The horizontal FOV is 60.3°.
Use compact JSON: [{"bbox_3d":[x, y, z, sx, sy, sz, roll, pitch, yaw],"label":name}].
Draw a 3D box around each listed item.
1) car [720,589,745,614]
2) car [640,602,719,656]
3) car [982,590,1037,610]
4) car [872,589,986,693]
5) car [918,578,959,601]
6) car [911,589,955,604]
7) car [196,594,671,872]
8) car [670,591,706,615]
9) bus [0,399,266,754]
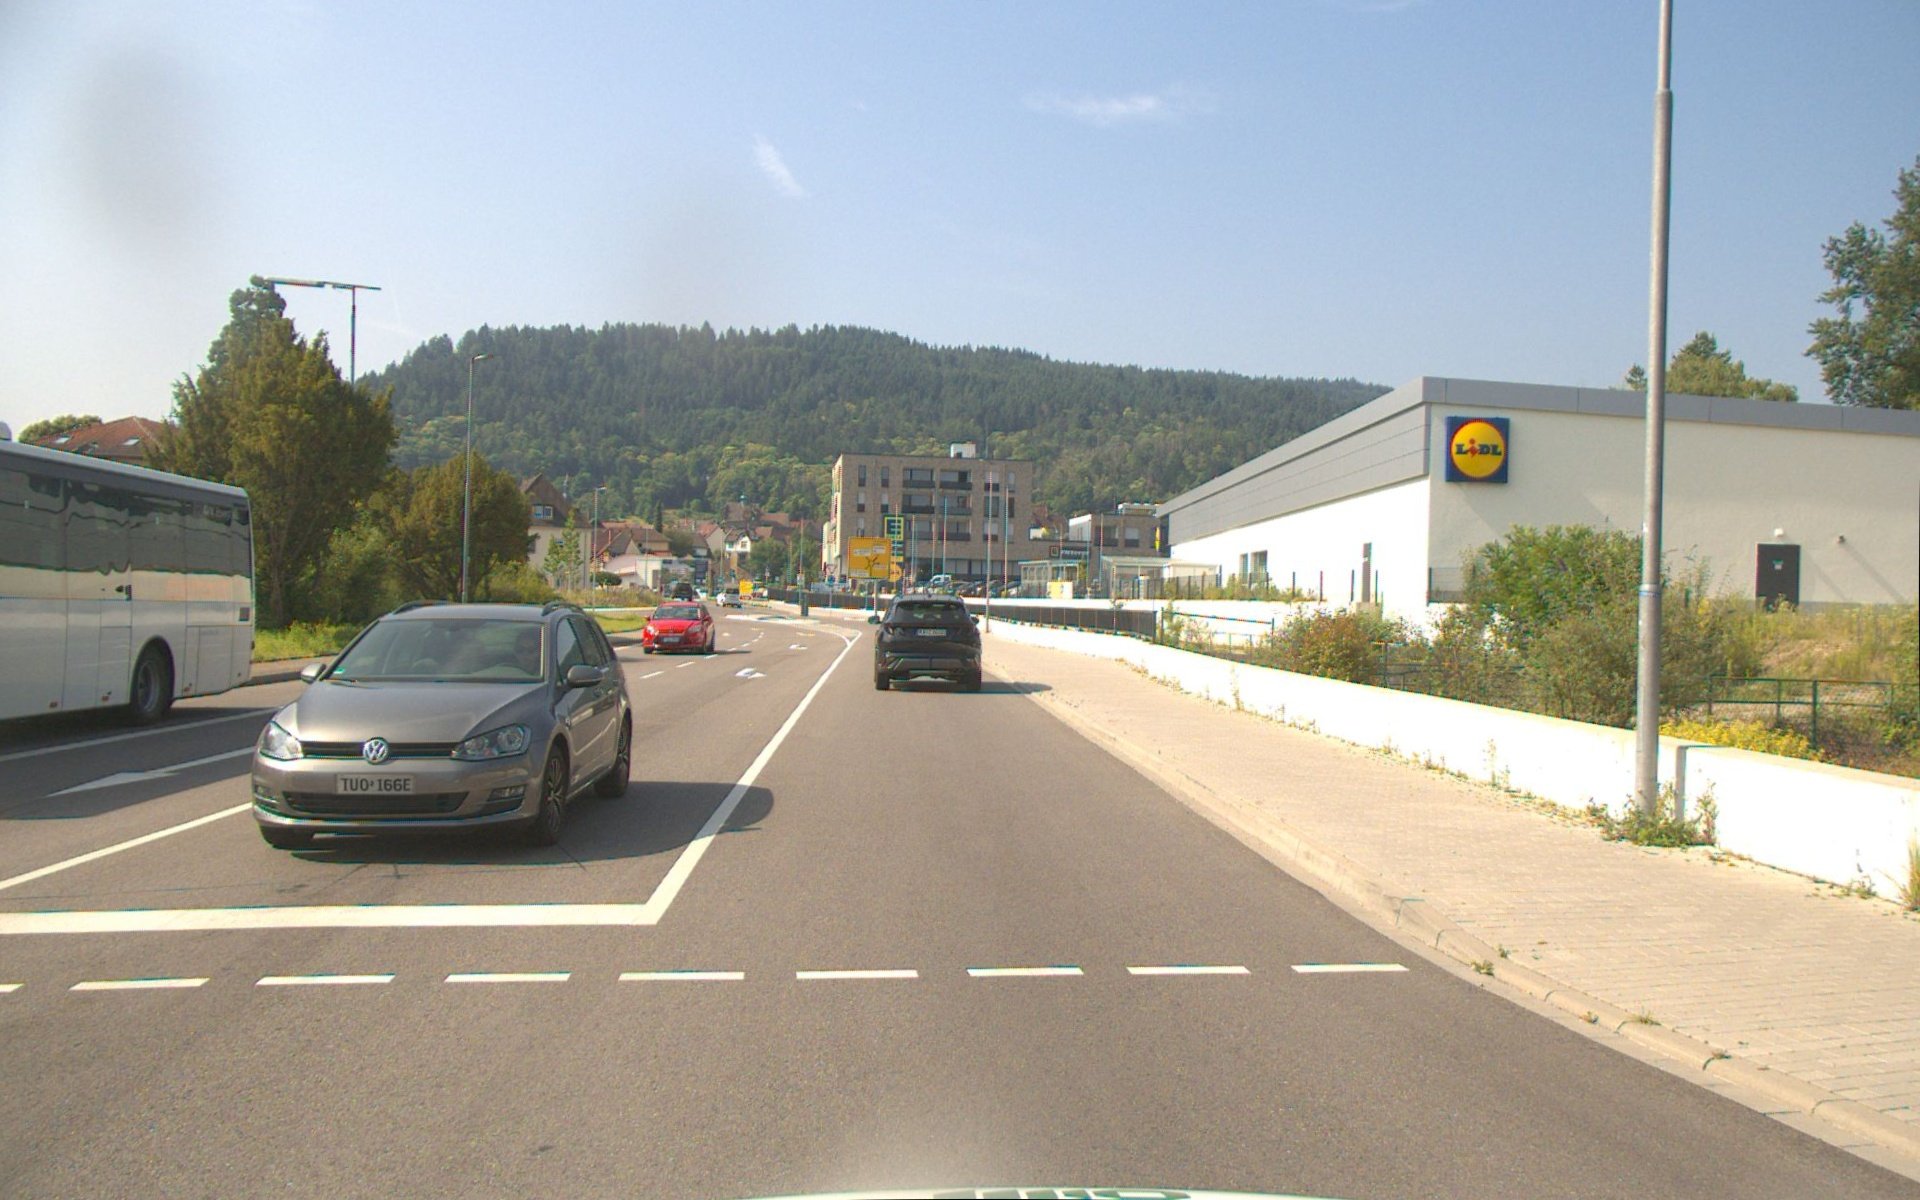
[{"bbox_3d":[-18.596,0.139,134.897,1.956,2.049,3.992,1,-1,-9],"label":"car"},{"bbox_3d":[-8.309,0.856,49.278,1.801,1.518,4.429,1,-1,-3],"label":"car"},{"bbox_3d":[3.834,0.013,128.022,4.004,1.428,1.476,2,0,-22],"label":"car"},{"bbox_3d":[-0.485,0.706,29.712,1.842,1.713,4.001,1,-1,2],"label":"car"},{"bbox_3d":[-2.057,-0.997,161.381,3.905,2.173,2.000,1,-1,0],"label":"car"},{"bbox_3d":[-2.419,-0.321,145.541,3.504,1.220,1.704,2,0,-21],"label":"car"},{"bbox_3d":[-3.259,0.747,11.184,1.735,1.499,4.220,1,-1,2],"label":"car"},{"bbox_3d":[-24.141,0.276,146.705,1.951,2.049,4.003,1,-1,9],"label":"car"},{"bbox_3d":[-10.448,-0.224,16.520,2.568,3.368,11.948,1,0,-3],"label":"bus"}]
